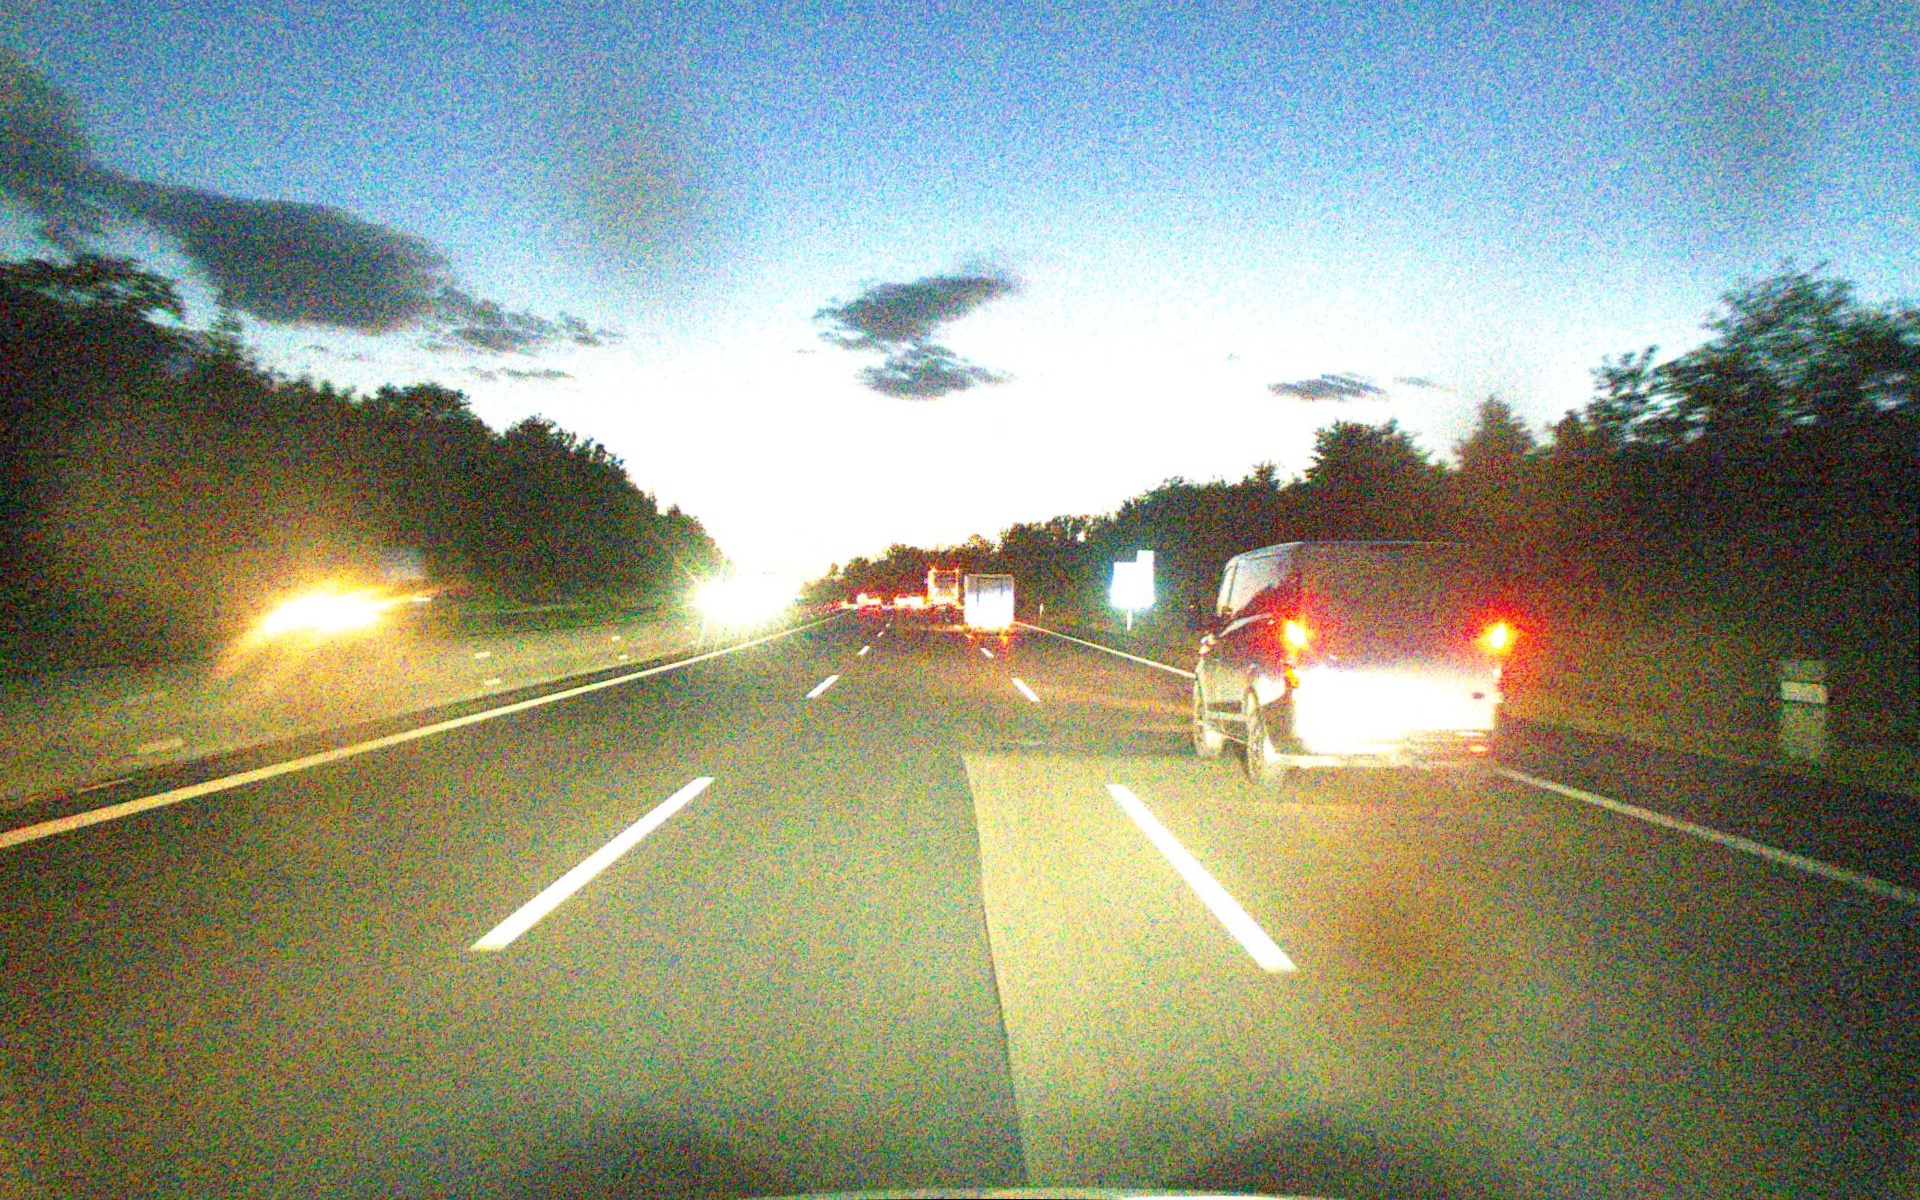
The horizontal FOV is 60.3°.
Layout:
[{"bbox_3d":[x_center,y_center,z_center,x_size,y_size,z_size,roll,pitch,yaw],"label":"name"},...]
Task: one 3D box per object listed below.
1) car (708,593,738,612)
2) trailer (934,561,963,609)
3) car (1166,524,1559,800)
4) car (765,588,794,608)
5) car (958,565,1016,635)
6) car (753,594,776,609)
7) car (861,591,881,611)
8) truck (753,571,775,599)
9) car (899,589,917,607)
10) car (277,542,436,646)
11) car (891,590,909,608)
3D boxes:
[{"bbox_3d":[-19.565,0.213,136.659,1.970,1.493,4.206,1,0,-3],"label":"car"},{"bbox_3d":[-1.274,-1.420,174.365,2.772,4.331,17.042,1,-2,-1],"label":"trailer"},{"bbox_3d":[3.369,0.479,15.208,2.073,2.036,5.662,1,0,-2],"label":"car"},{"bbox_3d":[-15.469,-0.157,141.981,1.969,1.699,4.482,1,0,-1],"label":"car"},{"bbox_3d":[1.060,0.011,67.396,1.991,2.693,5.721,1,0,-3],"label":"car"},{"bbox_3d":[-21.790,0.152,184.679,1.969,1.699,4.947,1,0,-1],"label":"car"},{"bbox_3d":[-8.650,0.097,160.916,1.954,1.825,3.997,1,-2,-3],"label":"car"},{"bbox_3d":[-28.979,-2.252,244.337,2.797,4.050,5.856,1,0,-3],"label":"truck"},{"bbox_3d":[-6.826,-0.217,216.814,1.955,2.154,3.994,1,-2,-6],"label":"car"},{"bbox_3d":[-16.026,-0.150,44.351,2.058,2.562,6.214,1,0,-1],"label":"car"},{"bbox_3d":[-6.596,-0.097,181.681,1.954,1.825,3.997,1,-2,-3],"label":"car"}]
